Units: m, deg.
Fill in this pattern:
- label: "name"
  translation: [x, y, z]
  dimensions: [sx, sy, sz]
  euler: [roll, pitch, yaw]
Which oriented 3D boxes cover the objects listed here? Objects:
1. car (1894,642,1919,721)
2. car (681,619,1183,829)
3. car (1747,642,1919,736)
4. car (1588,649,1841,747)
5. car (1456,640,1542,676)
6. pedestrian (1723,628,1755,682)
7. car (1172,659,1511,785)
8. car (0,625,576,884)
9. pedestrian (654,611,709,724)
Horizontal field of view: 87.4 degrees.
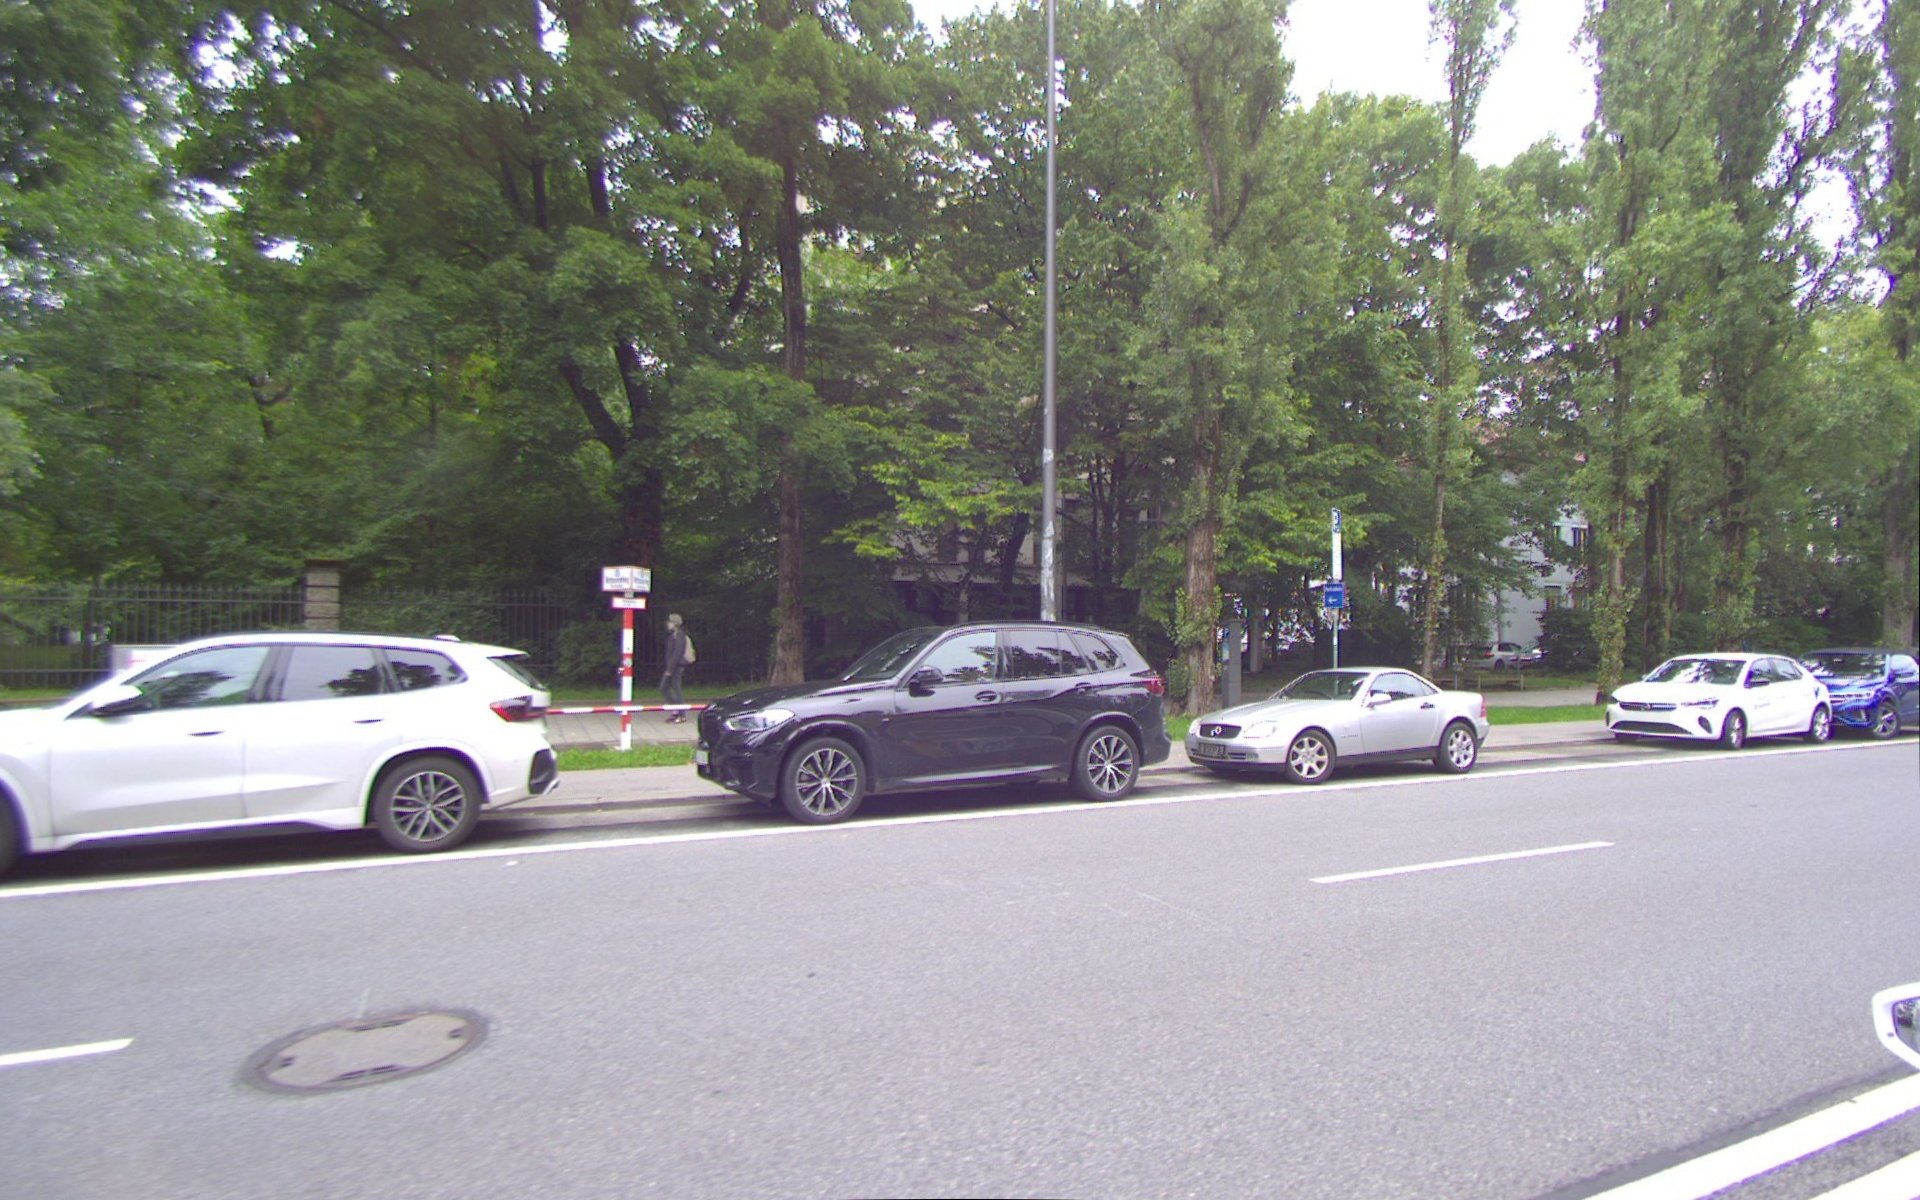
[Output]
- label: "car"
  translation: [21.119, 1.623, 20.344]
  dimensions: [4.282, 1.568, 1.786]
  euler: [1, -5, -27]
- label: "car"
  translation: [-0.235, 1.095, 9.996]
  dimensions: [4.657, 1.680, 1.874]
  euler: [1, -4, -27]
- label: "car"
  translation: [16.257, 1.549, 18.241]
  dimensions: [4.071, 1.538, 1.735]
  euler: [2, -4, -31]
- label: "car"
  translation: [12.281, 1.523, 16.323]
  dimensions: [3.952, 1.431, 1.680]
  euler: [1, -3, -27]
- label: "car"
  translation: [26.818, 2.854, 49.936]
  dimensions: [4.221, 1.706, 1.982]
  euler: [1, -2, -33]
- label: "pedestrian"
  translation: [25.842, 1.809, 33.325]
  dimensions: [0.631, 1.762, 0.598]
  euler: [1, -2, -25]
- label: "car"
  translation: [4.708, 1.407, 12.357]
  dimensions: [3.973, 1.321, 1.576]
  euler: [1, -3, -25]
- label: "car"
  translation: [-5.300, 1.028, 7.565]
  dimensions: [4.400, 1.609, 1.781]
  euler: [1, -4, -25]
- label: "pedestrian"
  translation: [-4.659, 1.113, 16.808]
  dimensions: [0.765, 1.839, 0.638]
  euler: [1, -1, -25]
